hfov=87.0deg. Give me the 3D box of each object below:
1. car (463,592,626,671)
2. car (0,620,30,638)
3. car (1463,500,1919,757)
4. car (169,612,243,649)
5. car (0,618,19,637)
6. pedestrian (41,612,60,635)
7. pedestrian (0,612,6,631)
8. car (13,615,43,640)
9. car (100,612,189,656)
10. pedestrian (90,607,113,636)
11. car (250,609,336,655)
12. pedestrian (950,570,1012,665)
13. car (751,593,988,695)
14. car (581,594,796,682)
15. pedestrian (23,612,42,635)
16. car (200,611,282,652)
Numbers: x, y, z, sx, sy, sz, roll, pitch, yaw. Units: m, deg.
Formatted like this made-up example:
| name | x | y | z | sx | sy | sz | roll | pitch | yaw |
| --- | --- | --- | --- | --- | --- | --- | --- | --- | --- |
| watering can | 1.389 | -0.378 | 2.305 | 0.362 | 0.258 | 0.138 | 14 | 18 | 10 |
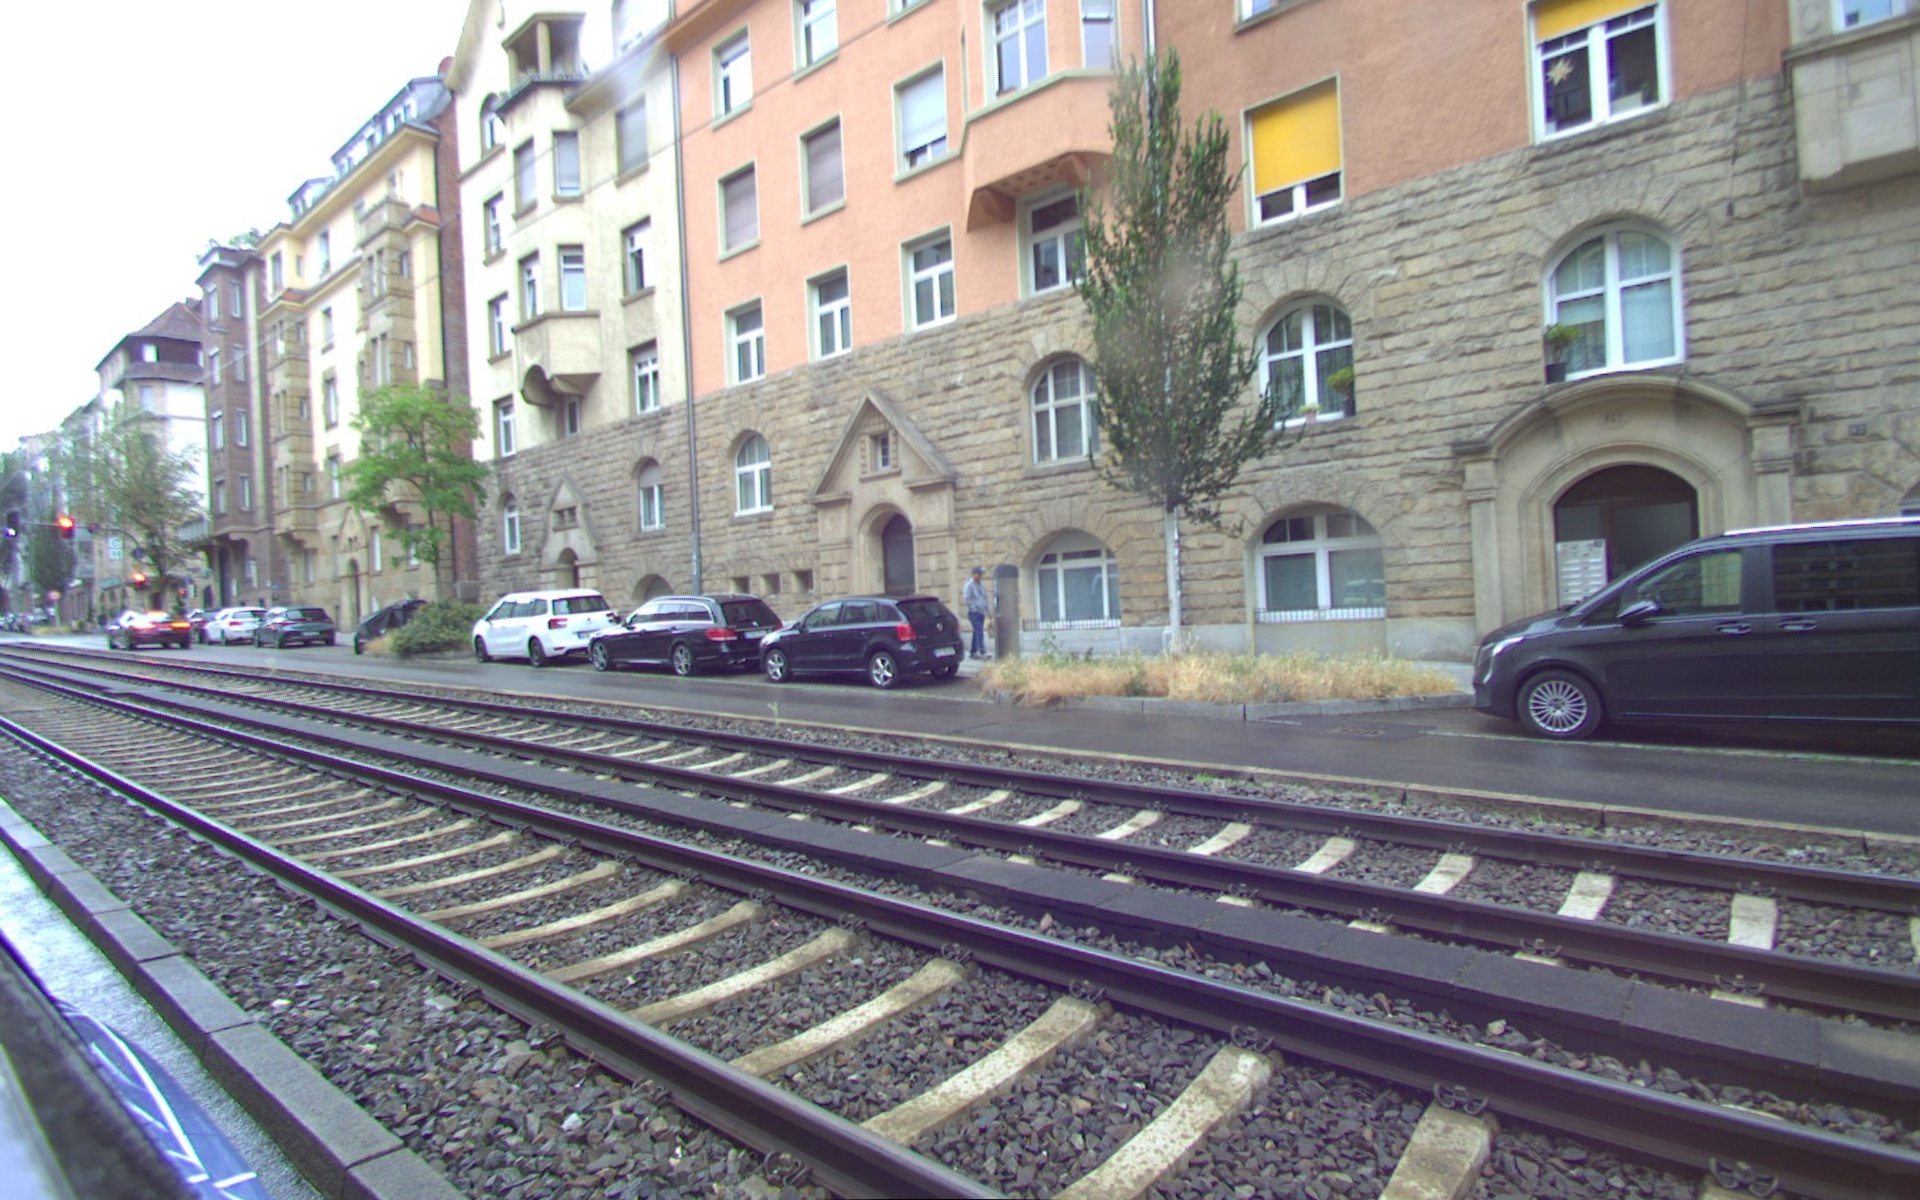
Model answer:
| name | x | y | z | sx | sy | sz | roll | pitch | yaw |
| --- | --- | --- | --- | --- | --- | --- | --- | --- | --- |
| car | -9.744 | 0.703 | 23.614 | 4.144 | 1.668 | 1.843 | -1 | 0 | 41 |
| car | -74.286 | 2.289 | 79.344 | 3.843 | 1.321 | 1.563 | -1 | 0 | 41 |
| car | 7.347 | 0.214 | 8.984 | 4.823 | 1.956 | 1.973 | -1 | 0 | 41 |
| car | -32.142 | 1.269 | 43.089 | 3.843 | 1.452 | 1.748 | -1 | 0 | 41 |
| car | -80.913 | 2.297 | 85.418 | 3.843 | 1.527 | 1.748 | -1 | 0 | 41 |
| pedestrian | -79.030 | 2.027 | 87.938 | 1.163 | 1.972 | 1.042 | -1 | 0 | 43 |
| pedestrian | -100.839 | 2.220 | 105.873 | 1.379 | 1.972 | 1.362 | -1 | 0 | 43 |
| car | -69.038 | 1.999 | 74.979 | 1.561 | 1.691 | 3.794 | -2 | 2 | -43 |
| car | -30.824 | 1.257 | 38.182 | 4.962 | 1.535 | 1.784 | -1 | 0 | 41 |
| pedestrian | -59.029 | 1.491 | 69.576 | 1.163 | 1.972 | 1.042 | -1 | 0 | 43 |
| car | -23.682 | 1.098 | 35.863 | 3.845 | 1.452 | 1.656 | -1 | 1 | 43 |
| pedestrian | 0.385 | 0.311 | 18.517 | 0.765 | 1.654 | 0.692 | -1 | 4 | 41 |
| car | -1.555 | 0.669 | 16.919 | 3.638 | 1.508 | 1.912 | -1 | 0 | 38 |
| car | -5.437 | 0.697 | 19.940 | 4.599 | 1.506 | 1.824 | -1 | 0 | 41 |
| pedestrian | -79.778 | 2.034 | 87.056 | 1.163 | 1.972 | 1.042 | -1 | 0 | 43 |
| car | -28.283 | 1.214 | 39.766 | 4.030 | 1.452 | 1.748 | -1 | 1 | 42 |
